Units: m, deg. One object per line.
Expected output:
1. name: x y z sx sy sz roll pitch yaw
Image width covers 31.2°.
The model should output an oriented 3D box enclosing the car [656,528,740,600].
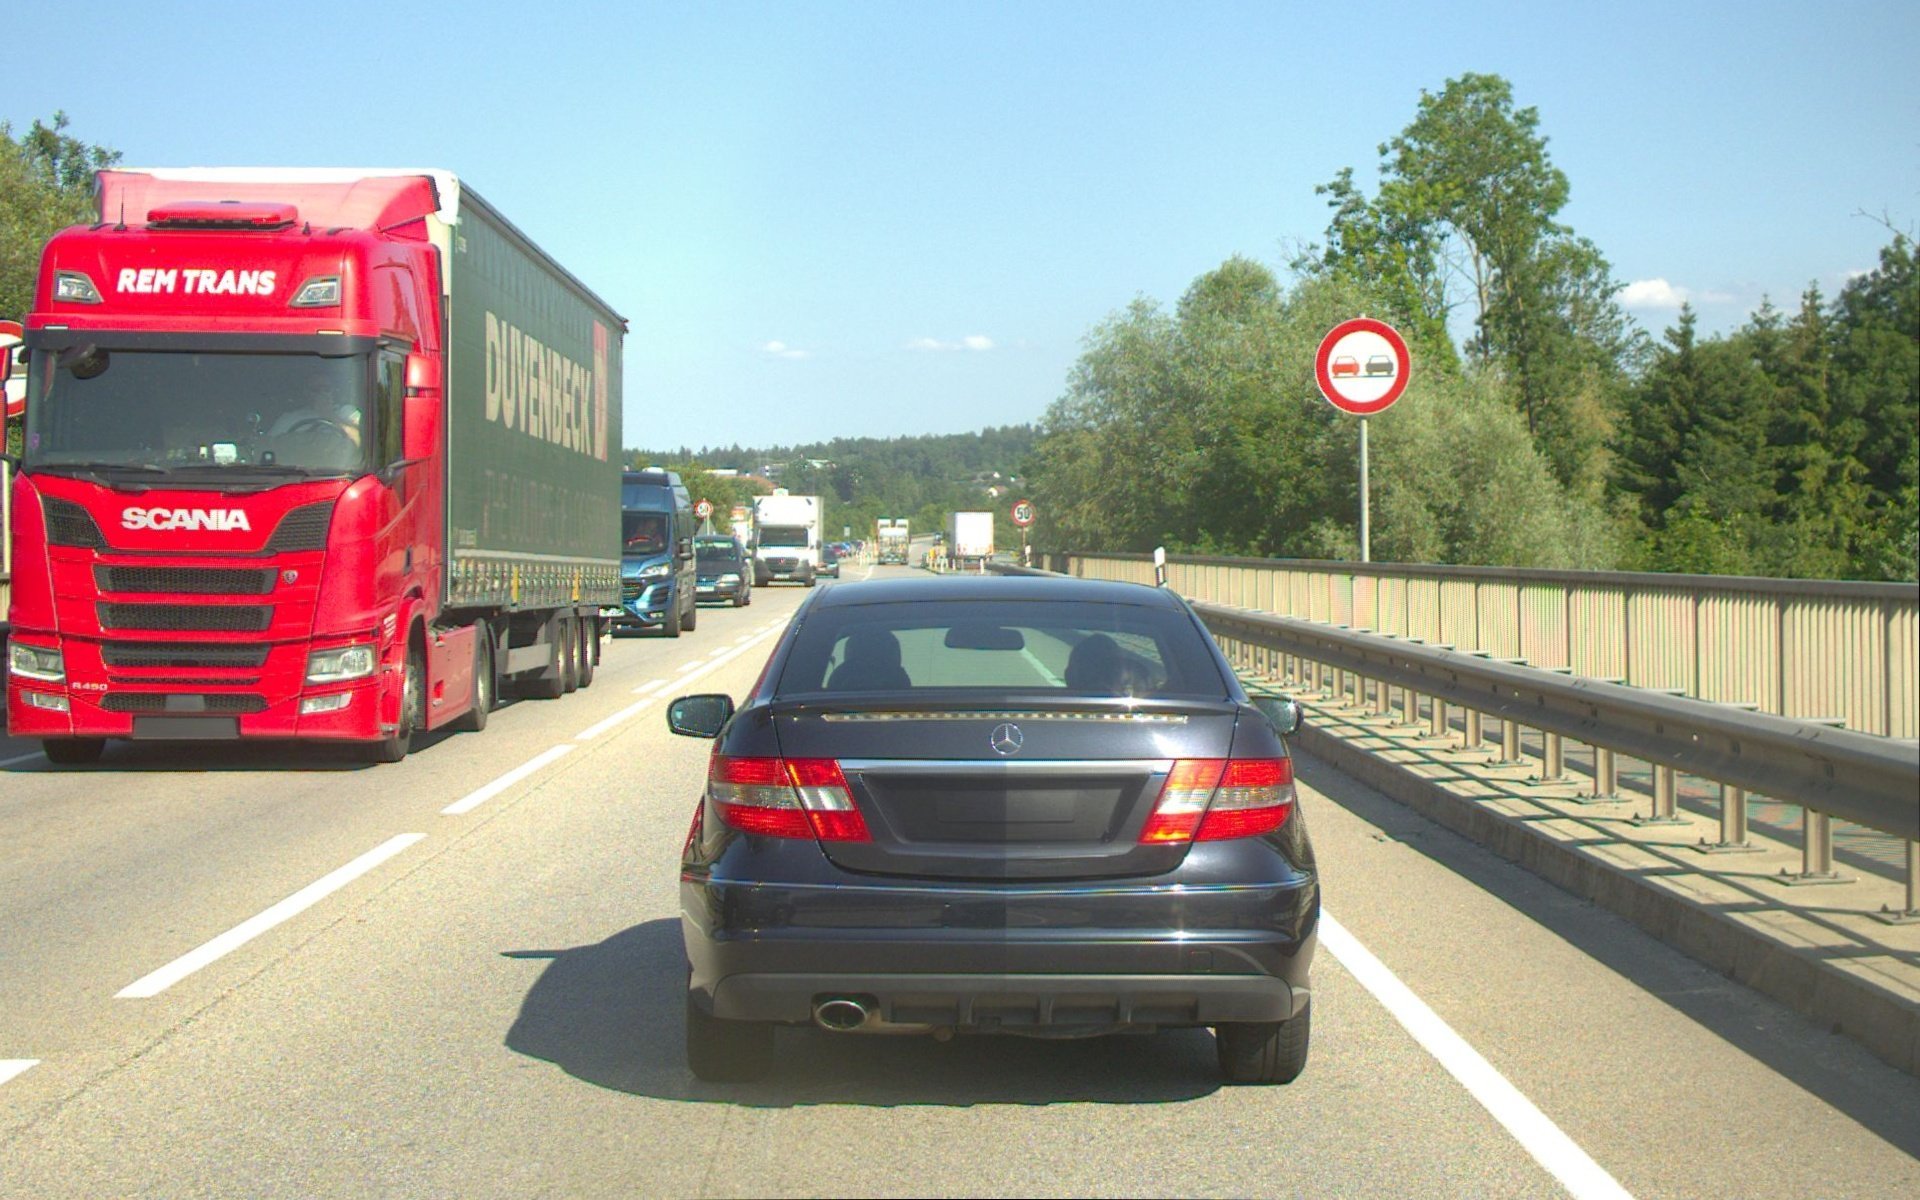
1. car: -6.143 -0.862 80.989 1.841 1.636 4.578 0 1 -3

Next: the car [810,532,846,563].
1. car: -6.296 -2.530 164.000 1.659 1.431 4.189 0 1 -3

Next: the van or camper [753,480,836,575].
1. van or camper: -5.835 -2.567 122.156 2.635 3.244 7.750 0 1 0

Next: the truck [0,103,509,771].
1. truck: -5.031 -1.076 24.368 2.908 4.170 5.713 0 1 0

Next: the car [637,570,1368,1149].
1. car: 0.118 0.621 10.461 1.793 1.371 4.000 0 1 0

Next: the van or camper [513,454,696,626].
1. van or camper: -5.695 -0.987 55.929 2.430 2.633 6.405 0 1 -1

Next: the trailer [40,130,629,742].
1. trailer: -5.091 -1.294 31.322 2.907 4.287 14.303 0 1 -1
